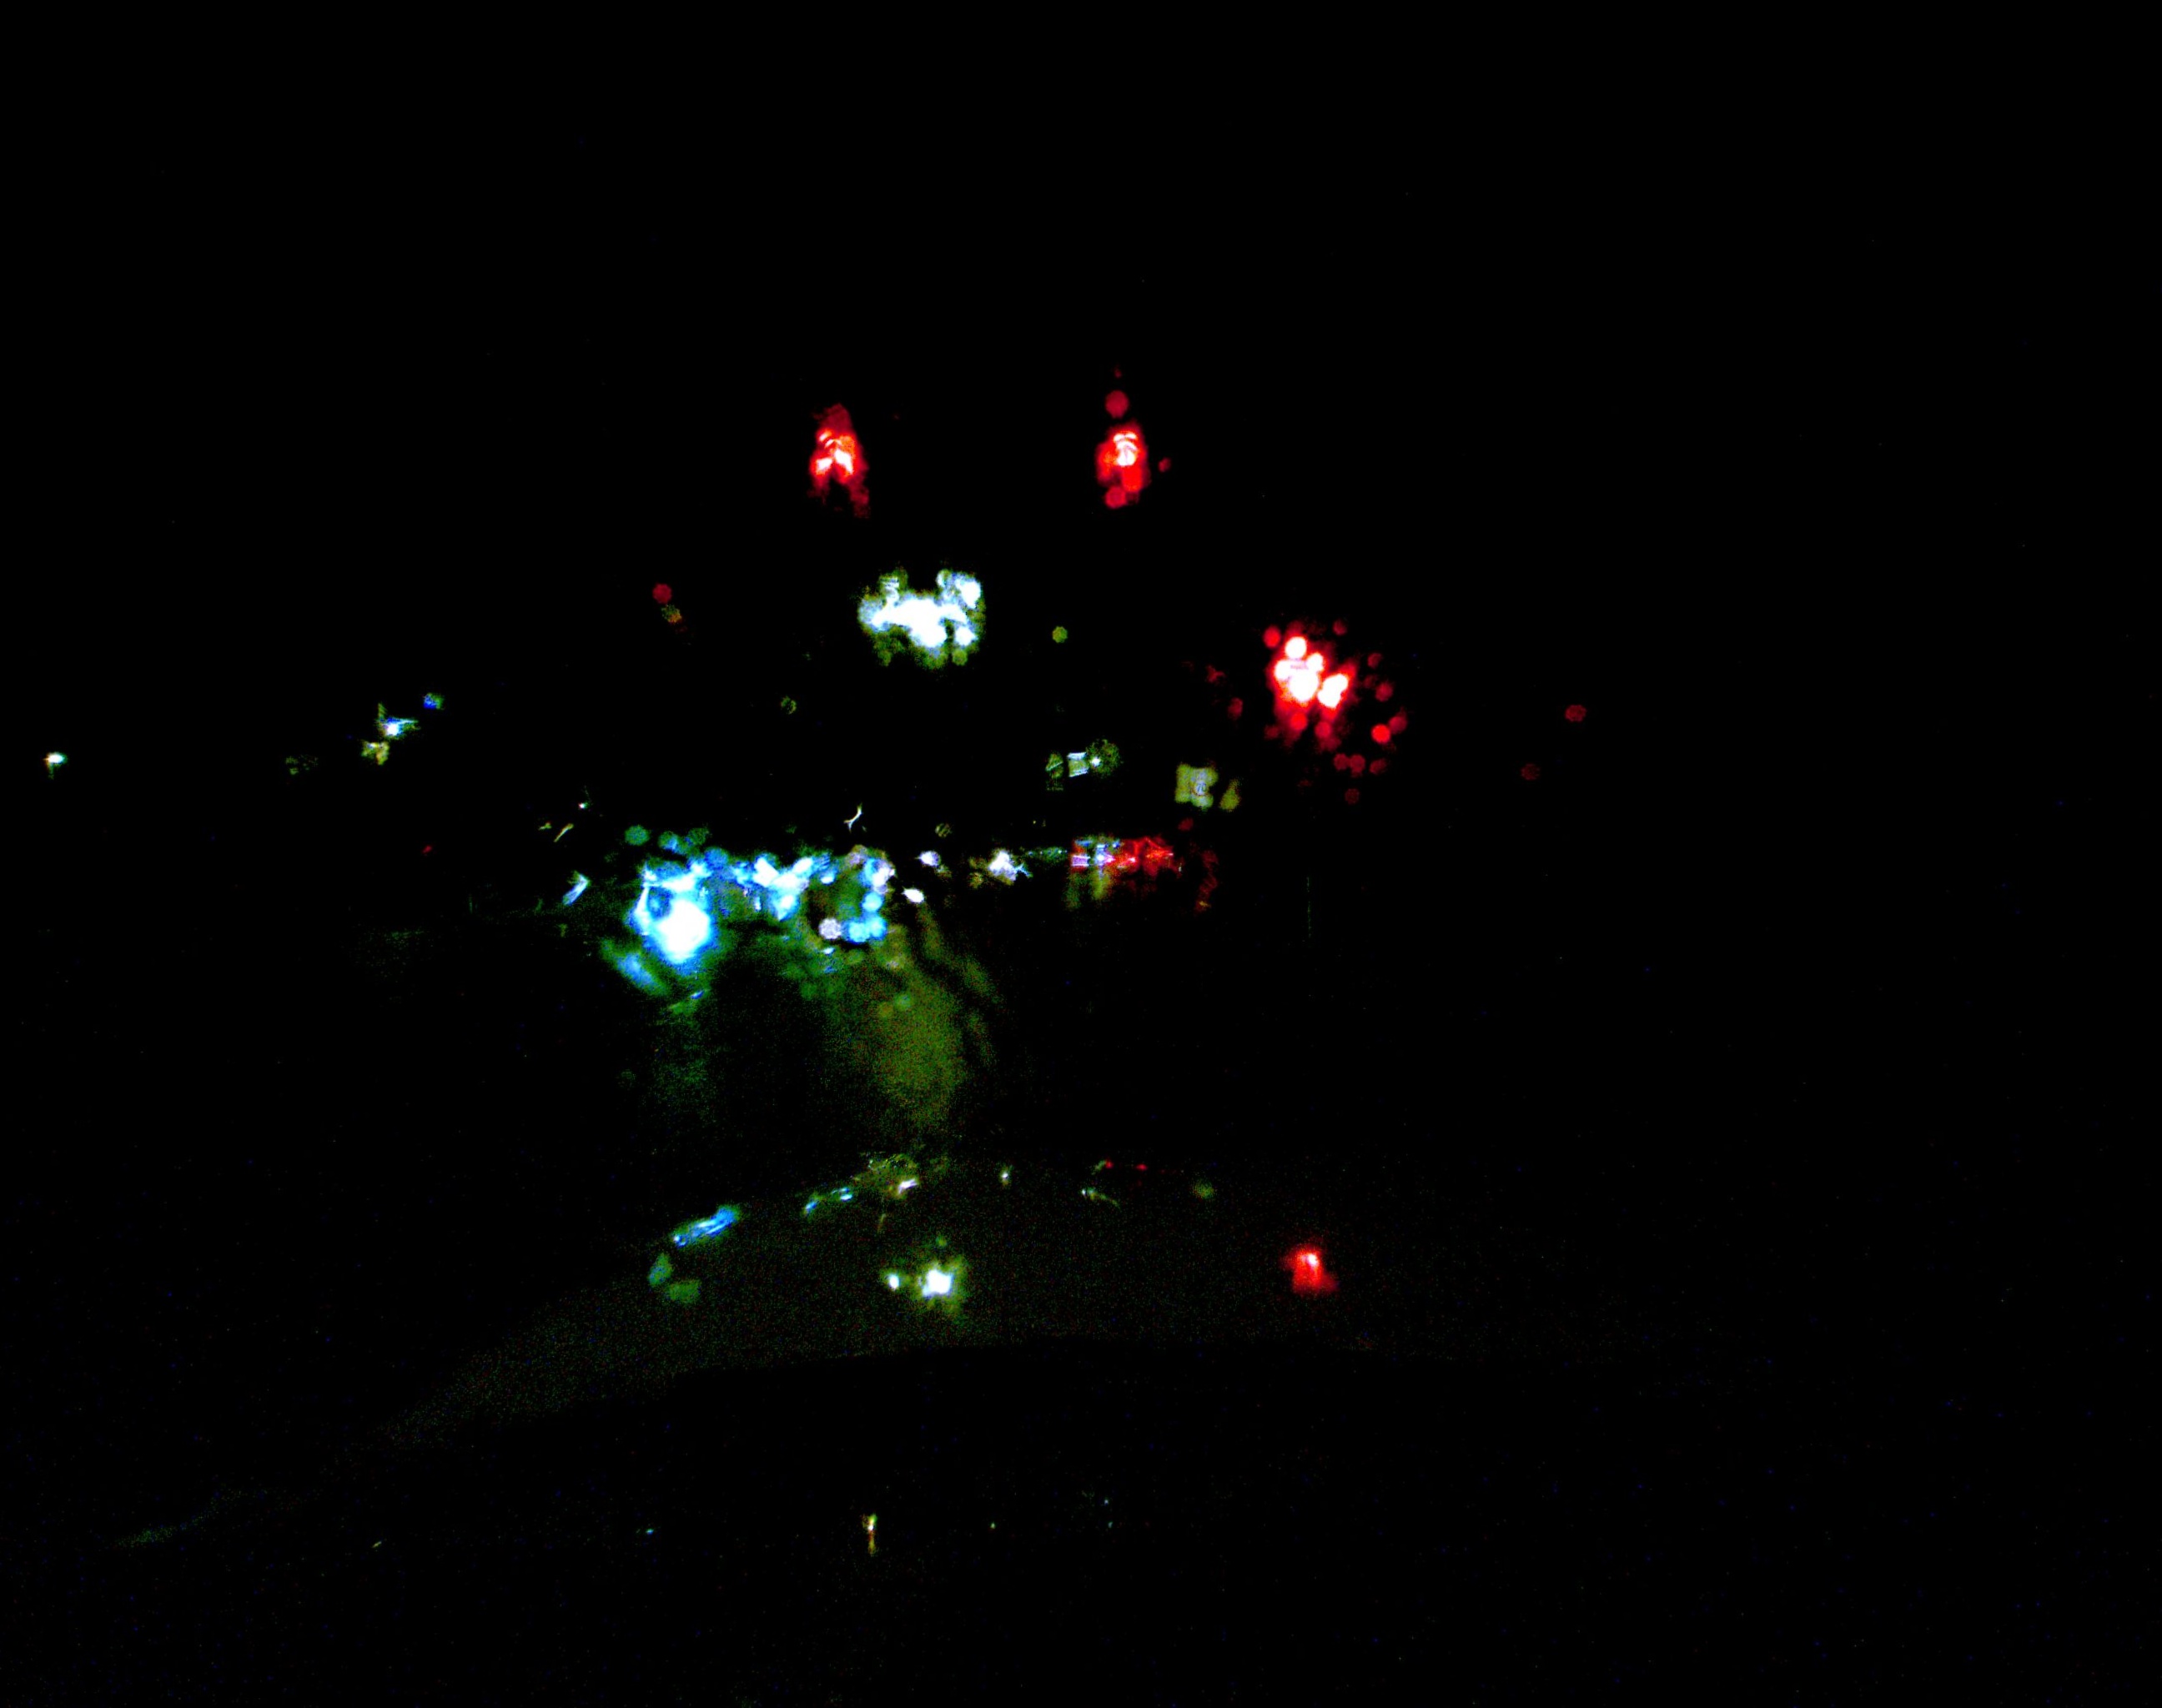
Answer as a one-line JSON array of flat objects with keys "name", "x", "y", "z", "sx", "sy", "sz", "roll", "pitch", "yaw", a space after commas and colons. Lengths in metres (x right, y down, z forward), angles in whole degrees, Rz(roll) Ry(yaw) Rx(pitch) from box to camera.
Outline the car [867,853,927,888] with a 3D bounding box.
[{"name": "car", "x": -8.456, "y": 0.749, "z": 37.676, "sx": 1.577, "sy": 1.526, "sz": 3.658, "roll": -1, "pitch": -1, "yaw": 6}]

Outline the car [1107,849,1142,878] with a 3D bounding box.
[{"name": "car", "x": 2.571, "y": 0.566, "z": 48.994, "sx": 1.986, "sy": 1.611, "sz": 4.104, "roll": -1, "pitch": -1, "yaw": 2}]

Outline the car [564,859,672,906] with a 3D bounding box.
[{"name": "car", "x": -20.446, "y": 1.208, "z": 36.016, "sx": 4.017, "sy": 1.831, "sz": 1.703, "roll": -2, "pitch": 0, "yaw": -35}]

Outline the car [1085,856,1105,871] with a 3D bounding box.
[{"name": "car", "x": 1.546, "y": 1.040, "z": 89.190, "sx": 1.699, "sy": 1.534, "sz": 4.609, "roll": -1, "pitch": -1, "yaw": 7}]

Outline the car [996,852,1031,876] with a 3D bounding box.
[{"name": "car", "x": -4.977, "y": 0.764, "z": 60.540, "sx": 1.708, "sy": 1.703, "sz": 4.151, "roll": -1, "pitch": -1, "yaw": 7}]

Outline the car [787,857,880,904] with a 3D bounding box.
[{"name": "car", "x": -9.149, "y": 0.931, "z": 30.545, "sx": 1.691, "sy": 1.571, "sz": 4.717, "roll": -1, "pitch": 0, "yaw": 4}]

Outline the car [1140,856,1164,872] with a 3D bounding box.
[{"name": "car", "x": 6.908, "y": 0.987, "z": 79.813, "sx": 2.095, "sy": 1.439, "sz": 4.002, "roll": -1, "pitch": -1, "yaw": 2}]

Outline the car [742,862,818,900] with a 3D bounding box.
[{"name": "car", "x": -12.527, "y": 1.101, "z": 34.116, "sx": 1.661, "sy": 1.454, "sz": 3.730, "roll": -1, "pitch": -1, "yaw": 3}]

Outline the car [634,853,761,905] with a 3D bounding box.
[{"name": "car", "x": -12.754, "y": 0.773, "z": 27.479, "sx": 1.785, "sy": 1.571, "sz": 4.916, "roll": -1, "pitch": 0, "yaw": 2}]

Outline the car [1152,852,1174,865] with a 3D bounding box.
[{"name": "car", "x": 9.254, "y": 0.518, "z": 92.086, "sx": 2.099, "sy": 1.339, "sz": 4.296, "roll": -1, "pitch": -1, "yaw": 2}]
